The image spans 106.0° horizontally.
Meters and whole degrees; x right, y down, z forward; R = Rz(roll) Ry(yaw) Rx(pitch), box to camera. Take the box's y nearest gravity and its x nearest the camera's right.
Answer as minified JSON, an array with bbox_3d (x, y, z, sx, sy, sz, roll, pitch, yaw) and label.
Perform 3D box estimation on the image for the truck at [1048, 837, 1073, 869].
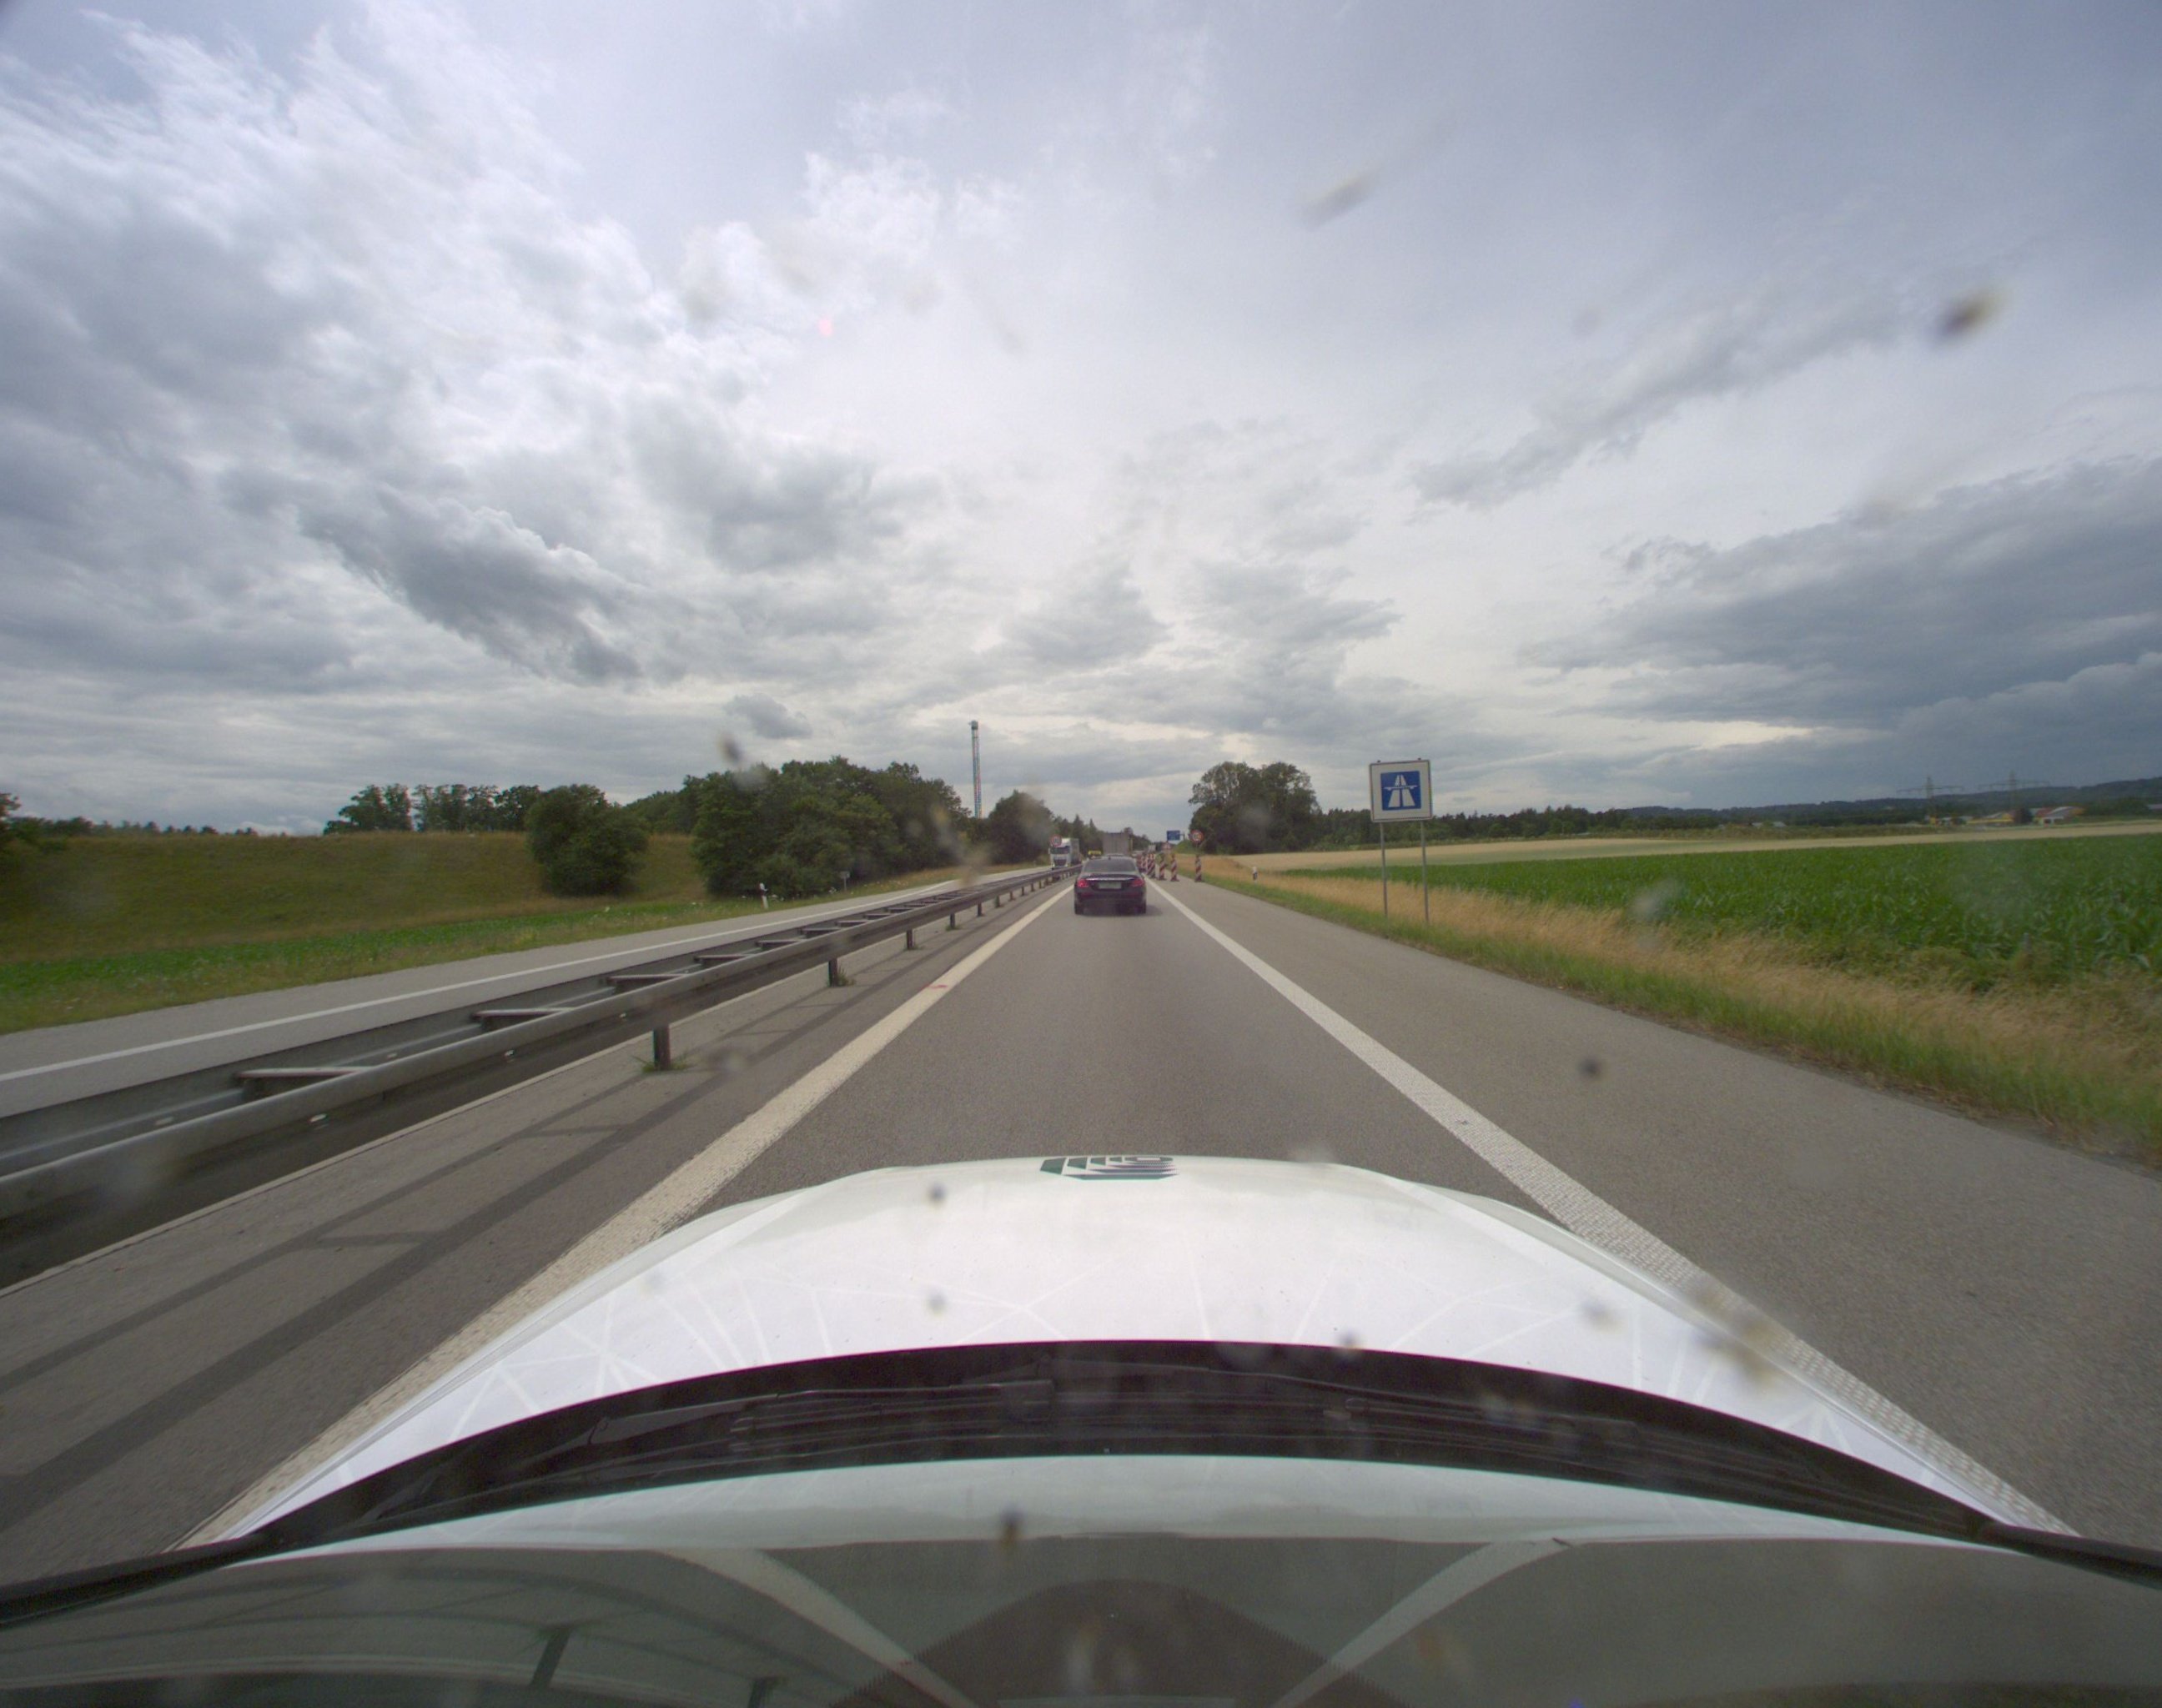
[{"bbox_3d":[-2.663,-0.106,107.972,2.787,4.142,7.233,-1,-1,3],"label":"truck"}]

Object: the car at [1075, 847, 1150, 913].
[{"bbox_3d":[0.809,0.656,21.510,1.789,1.560,4.001,-1,-1,2],"label":"car"}]

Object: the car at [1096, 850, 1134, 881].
[{"bbox_3d":[2.238,0.770,54.546,1.991,2.014,3.992,-1,-1,-5],"label":"car"}]

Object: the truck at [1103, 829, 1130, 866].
[{"bbox_3d":[3.504,-0.609,81.150,2.577,3.524,4.815,-1,-1,2],"label":"truck"}]

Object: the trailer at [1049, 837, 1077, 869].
[{"bbox_3d":[-2.397,-0.068,113.467,2.787,4.173,13.573,-1,-1,3],"label":"trailer"}]

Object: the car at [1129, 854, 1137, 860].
[{"bbox_3d":[12.360,0.613,194.767,1.644,1.396,3.704,-1,-1,-1],"label":"car"}]
